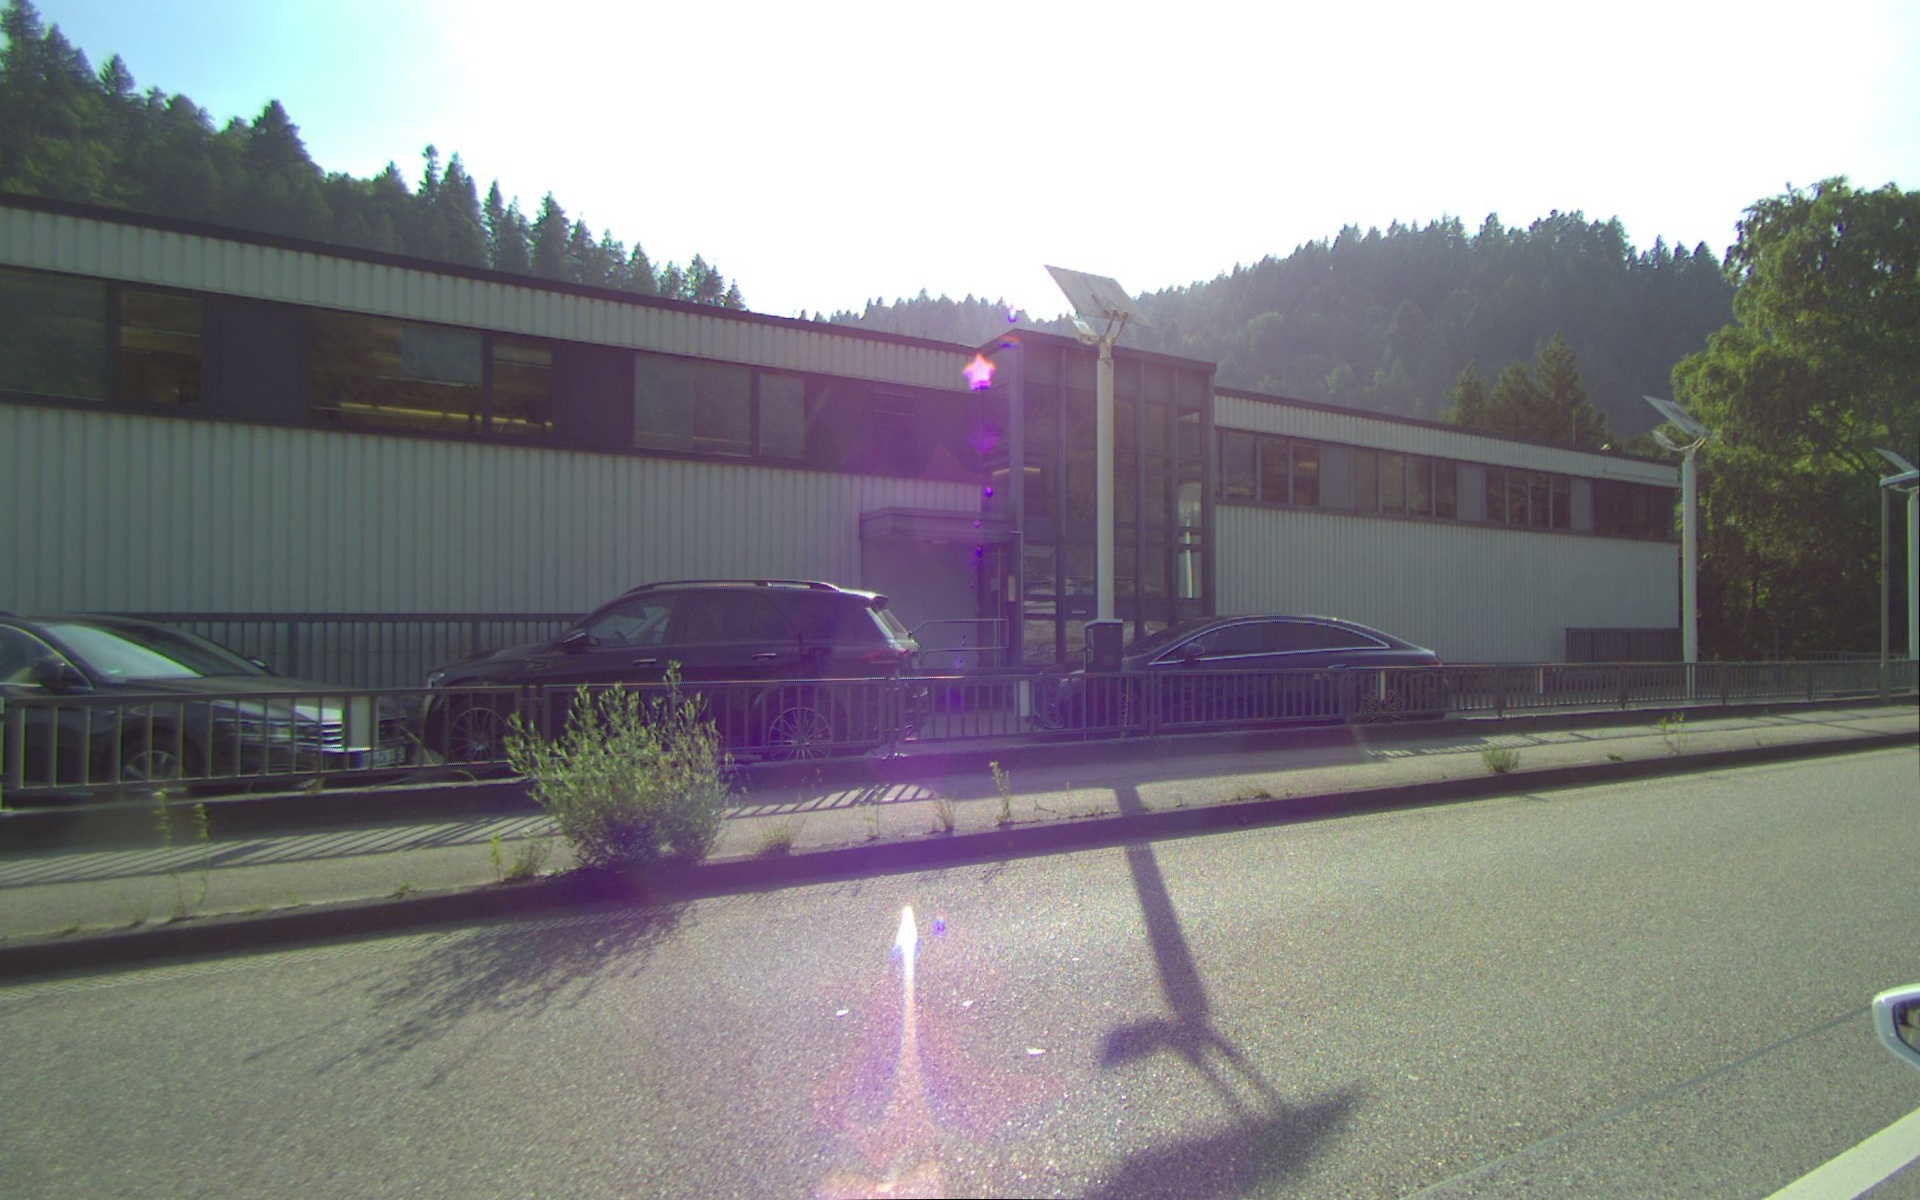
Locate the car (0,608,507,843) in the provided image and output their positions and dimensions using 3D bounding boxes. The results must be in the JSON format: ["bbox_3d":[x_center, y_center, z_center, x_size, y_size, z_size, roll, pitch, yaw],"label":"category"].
[{"bbox_3d":[-5.946,0.800,7.158,4.640,1.458,1.713,0,-1,1],"label":"car"}]

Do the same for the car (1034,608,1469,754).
[{"bbox_3d":[3.418,0.952,12.409,4.760,1.582,1.999,1,-1,-4],"label":"car"}]

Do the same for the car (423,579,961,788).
[{"bbox_3d":[-2.366,0.757,9.688,4.596,1.765,2.001,-1,-1,4],"label":"car"}]
